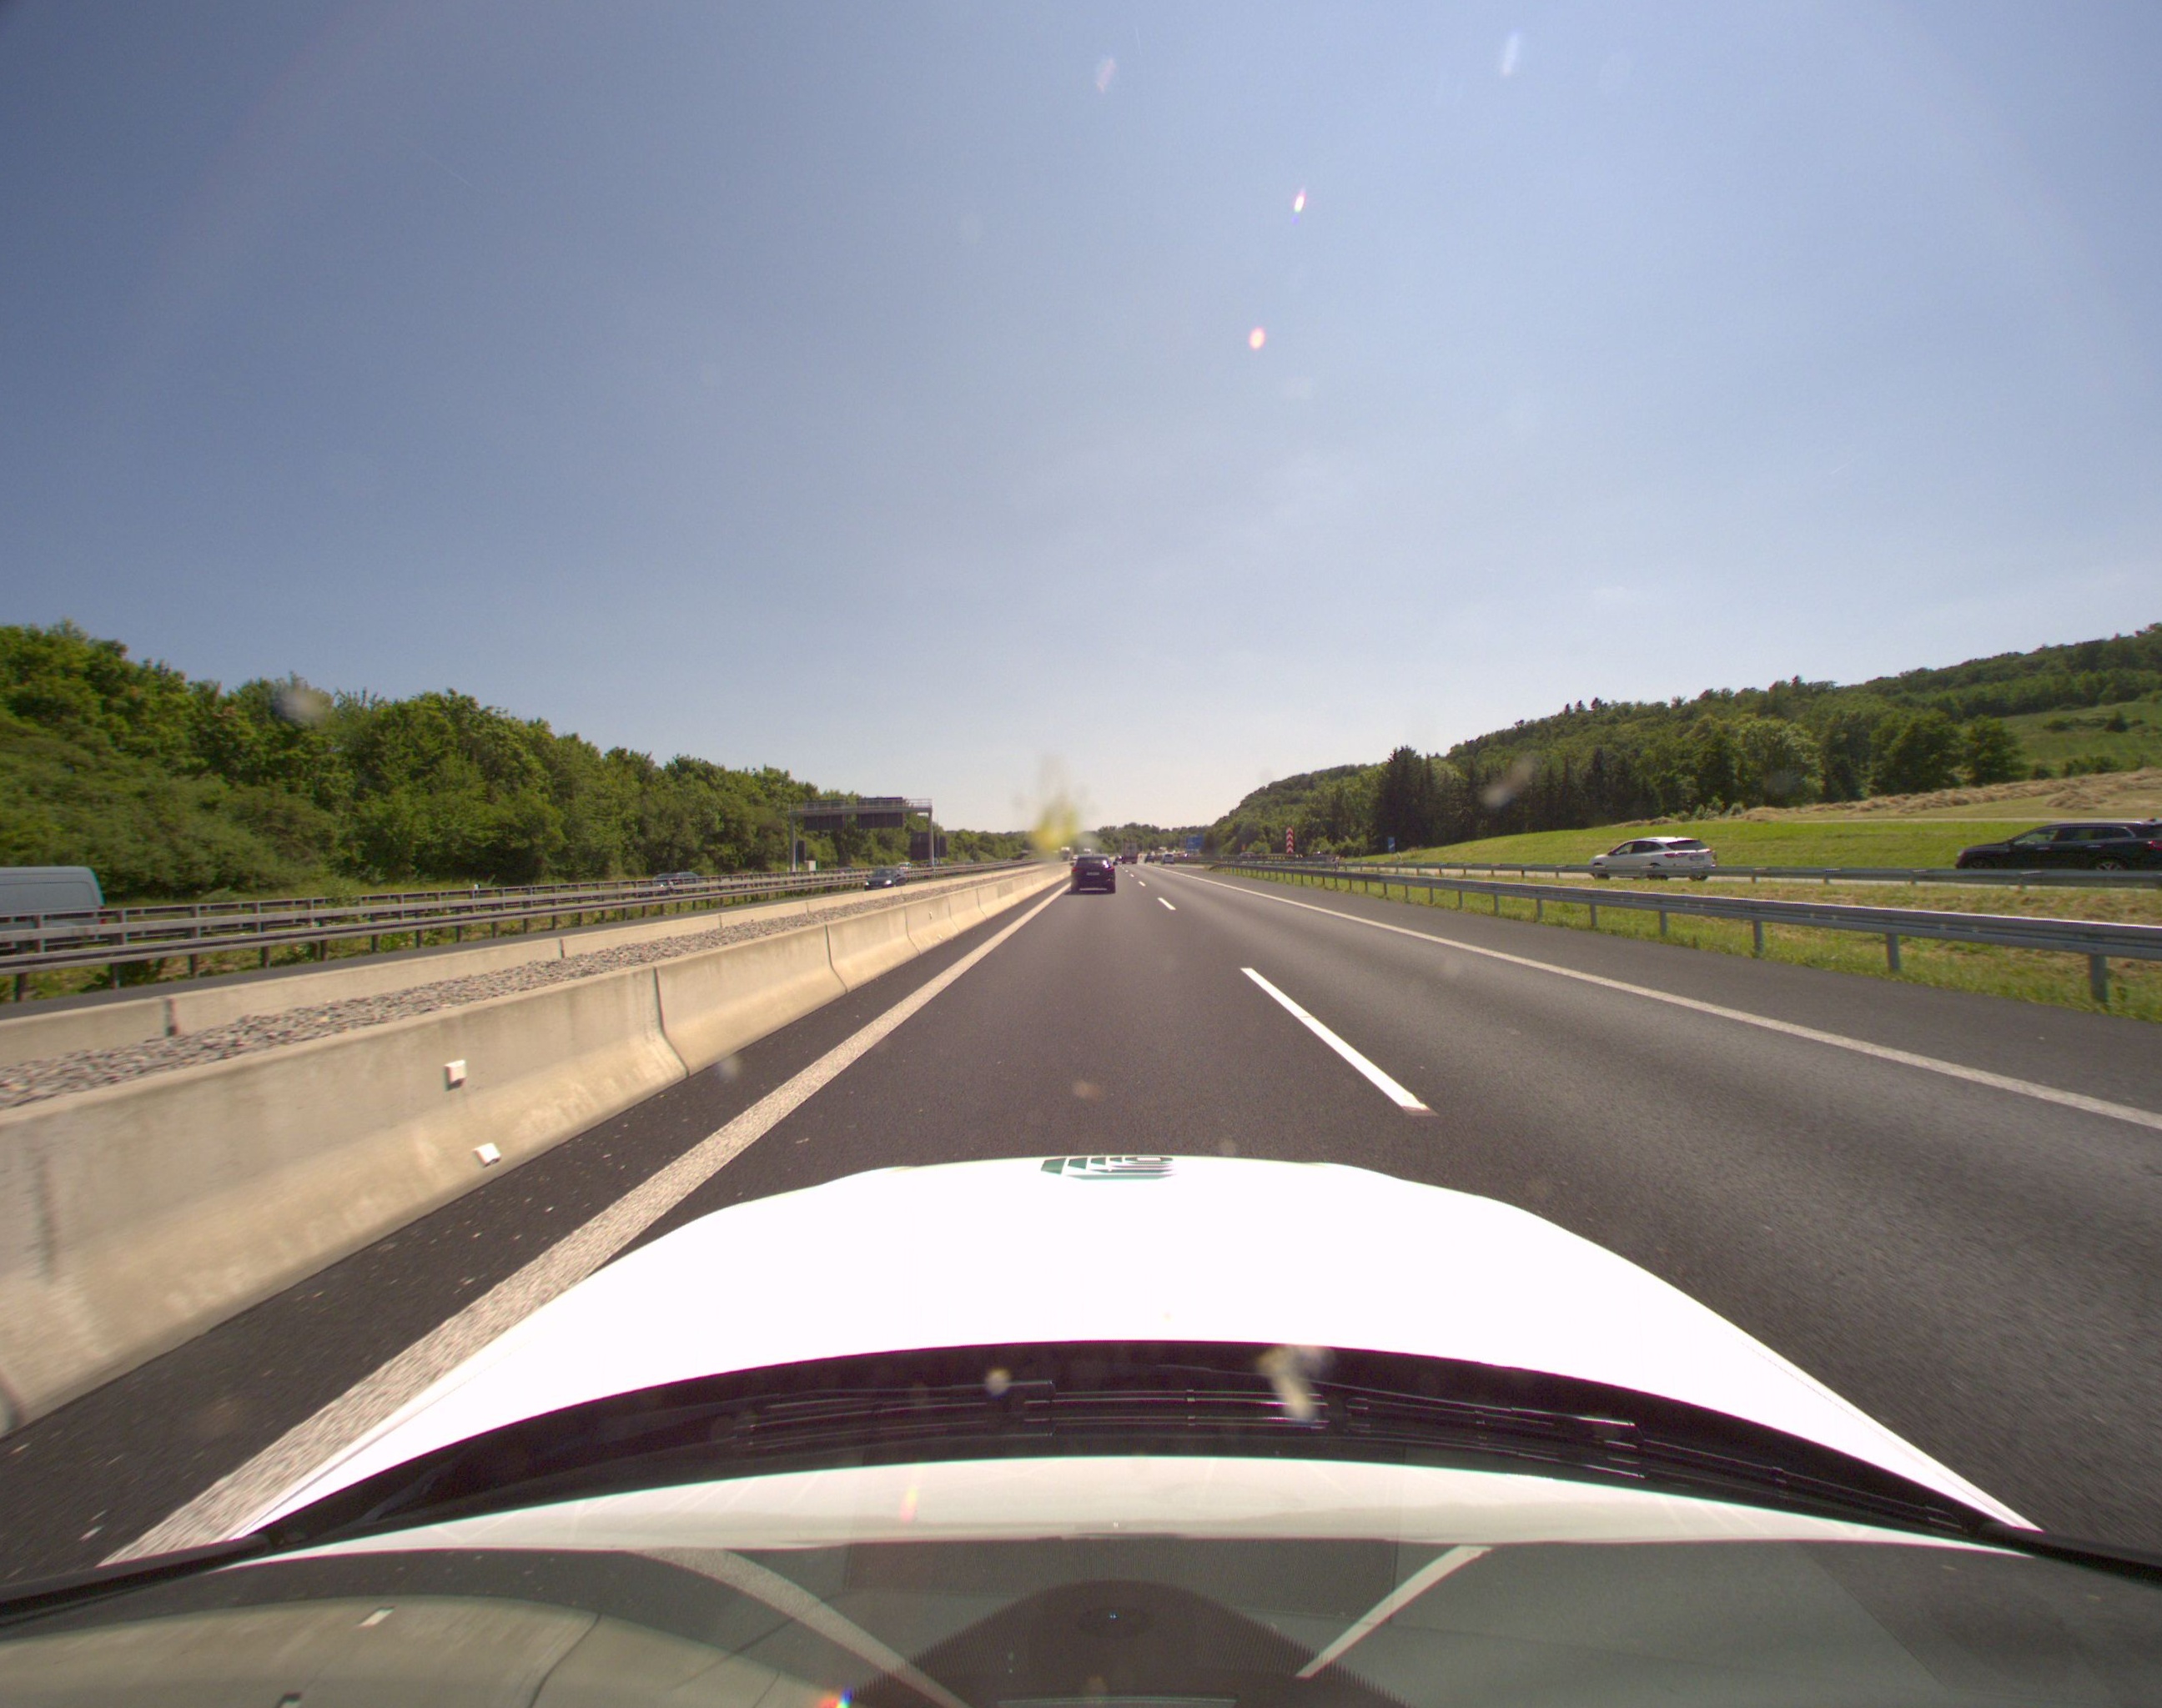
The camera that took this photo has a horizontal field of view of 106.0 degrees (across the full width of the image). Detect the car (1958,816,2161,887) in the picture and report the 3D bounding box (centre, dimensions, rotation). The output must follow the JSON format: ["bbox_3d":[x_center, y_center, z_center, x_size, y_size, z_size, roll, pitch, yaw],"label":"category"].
[{"bbox_3d":[26.246,-0.054,20.552,1.990,1.662,5.618,0,-1,-4],"label":"car"}]

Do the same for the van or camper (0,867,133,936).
[{"bbox_3d":[-30.421,1.354,22.407,1.985,1.798,5.533,-2,0,3],"label":"van or camper"}]

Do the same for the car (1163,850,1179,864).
[{"bbox_3d":[14.420,0.459,130.190,1.988,2.013,3.998,-3,0,-1],"label":"car"}]

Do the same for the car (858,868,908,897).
[{"bbox_3d":[-10.887,1.540,45.065,1.828,1.534,4.157,0,-1,-1],"label":"car"}]

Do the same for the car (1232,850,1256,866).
[{"bbox_3d":[21.394,0.505,107.136,1.990,2.013,3.993,-3,0,-5],"label":"car"}]

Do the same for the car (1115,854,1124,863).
[{"bbox_3d":[9.634,1.137,205.181,2.130,2.216,5.090,0,-1,2],"label":"car"}]

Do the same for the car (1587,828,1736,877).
[{"bbox_3d":[21.092,-0.036,29.860,1.992,1.662,4.457,0,-1,-7],"label":"car"}]

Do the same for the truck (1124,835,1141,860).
[{"bbox_3d":[9.636,-1.053,151.103,3.018,4.418,12.033,0,-1,5],"label":"truck"}]

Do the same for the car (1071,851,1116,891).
[{"bbox_3d":[0.487,0.675,34.102,1.774,1.577,3.998,0,-1,-1],"label":"car"}]

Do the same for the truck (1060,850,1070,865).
[{"bbox_3d":[-4.394,0.976,227.737,2.700,4.288,4.548,0,-1,-3],"label":"truck"}]

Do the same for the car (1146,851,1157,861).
[{"bbox_3d":[14.461,0.470,166.406,1.986,2.014,4.002,0,-1,2],"label":"car"}]
